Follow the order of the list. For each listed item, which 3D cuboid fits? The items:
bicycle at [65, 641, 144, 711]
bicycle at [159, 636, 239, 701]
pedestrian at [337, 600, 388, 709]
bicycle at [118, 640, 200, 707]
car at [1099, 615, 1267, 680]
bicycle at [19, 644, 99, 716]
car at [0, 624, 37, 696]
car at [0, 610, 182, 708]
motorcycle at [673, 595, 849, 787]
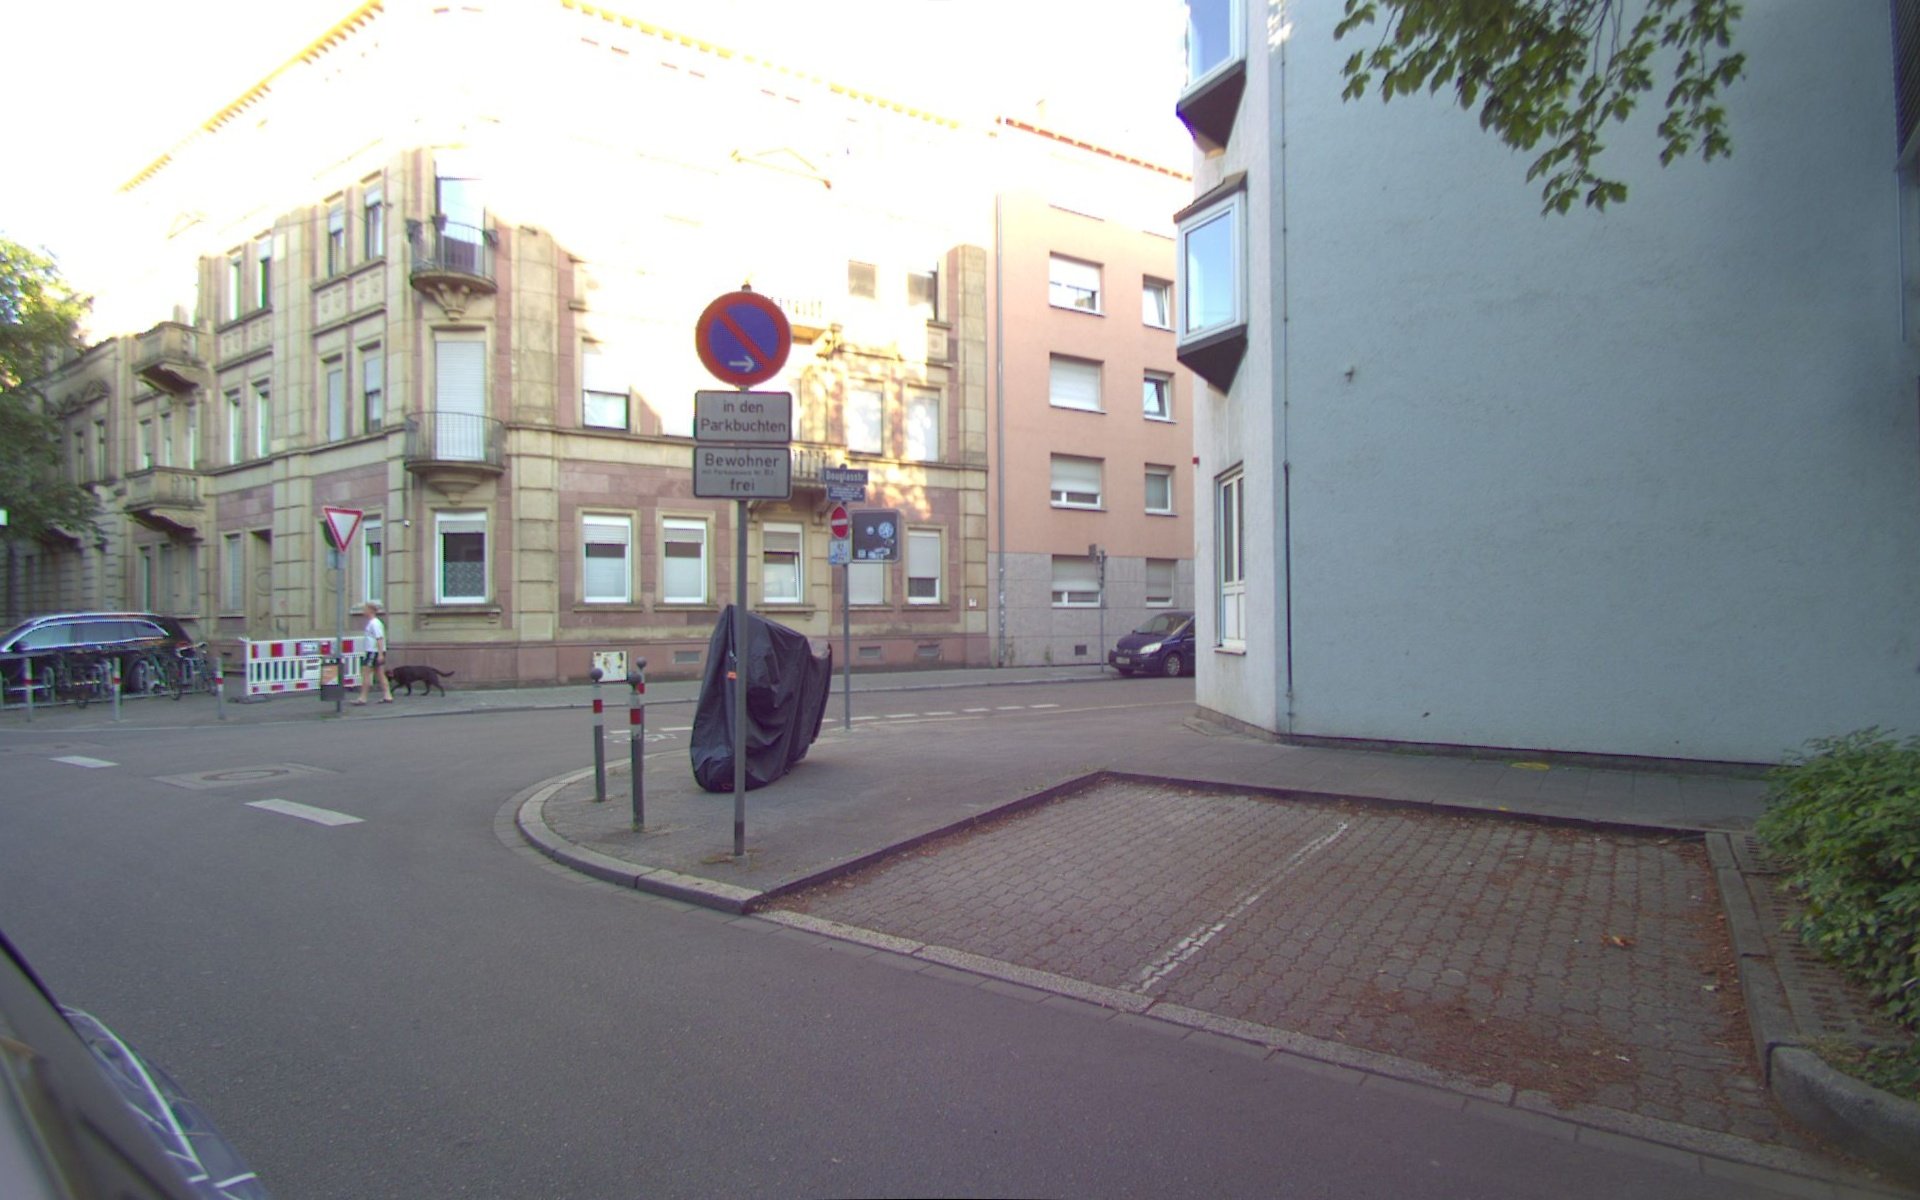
[{"bbox_3d":[-15.267,1.331,18.050,2.034,1.159,0.555,-1,-1,34],"label":"bicycle"},{"bbox_3d":[-14.441,1.272,19.182,2.033,1.159,0.556,-1,-1,33],"label":"bicycle"},{"bbox_3d":[-10.218,0.926,17.330,0.640,1.821,0.575,0,-1,-17],"label":"pedestrian"},{"bbox_3d":[-14.795,1.333,18.678,2.033,1.159,0.556,-1,-1,33],"label":"bicycle"},{"bbox_3d":[5.742,1.166,25.849,4.297,1.529,1.789,1,-2,-36],"label":"car"},{"bbox_3d":[-15.620,1.355,17.521,2.034,1.159,0.555,-1,-1,34],"label":"bicycle"},{"bbox_3d":[-24.300,1.423,23.390,1.740,1.690,4.190,-1,-2,39],"label":"car"},{"bbox_3d":[-17.901,1.096,19.466,1.740,1.795,4.368,-1,-2,39],"label":"car"},{"bbox_3d":[-1.721,0.747,9.199,0.809,1.516,2.276,-1,-1,10],"label":"motorcycle"}]
